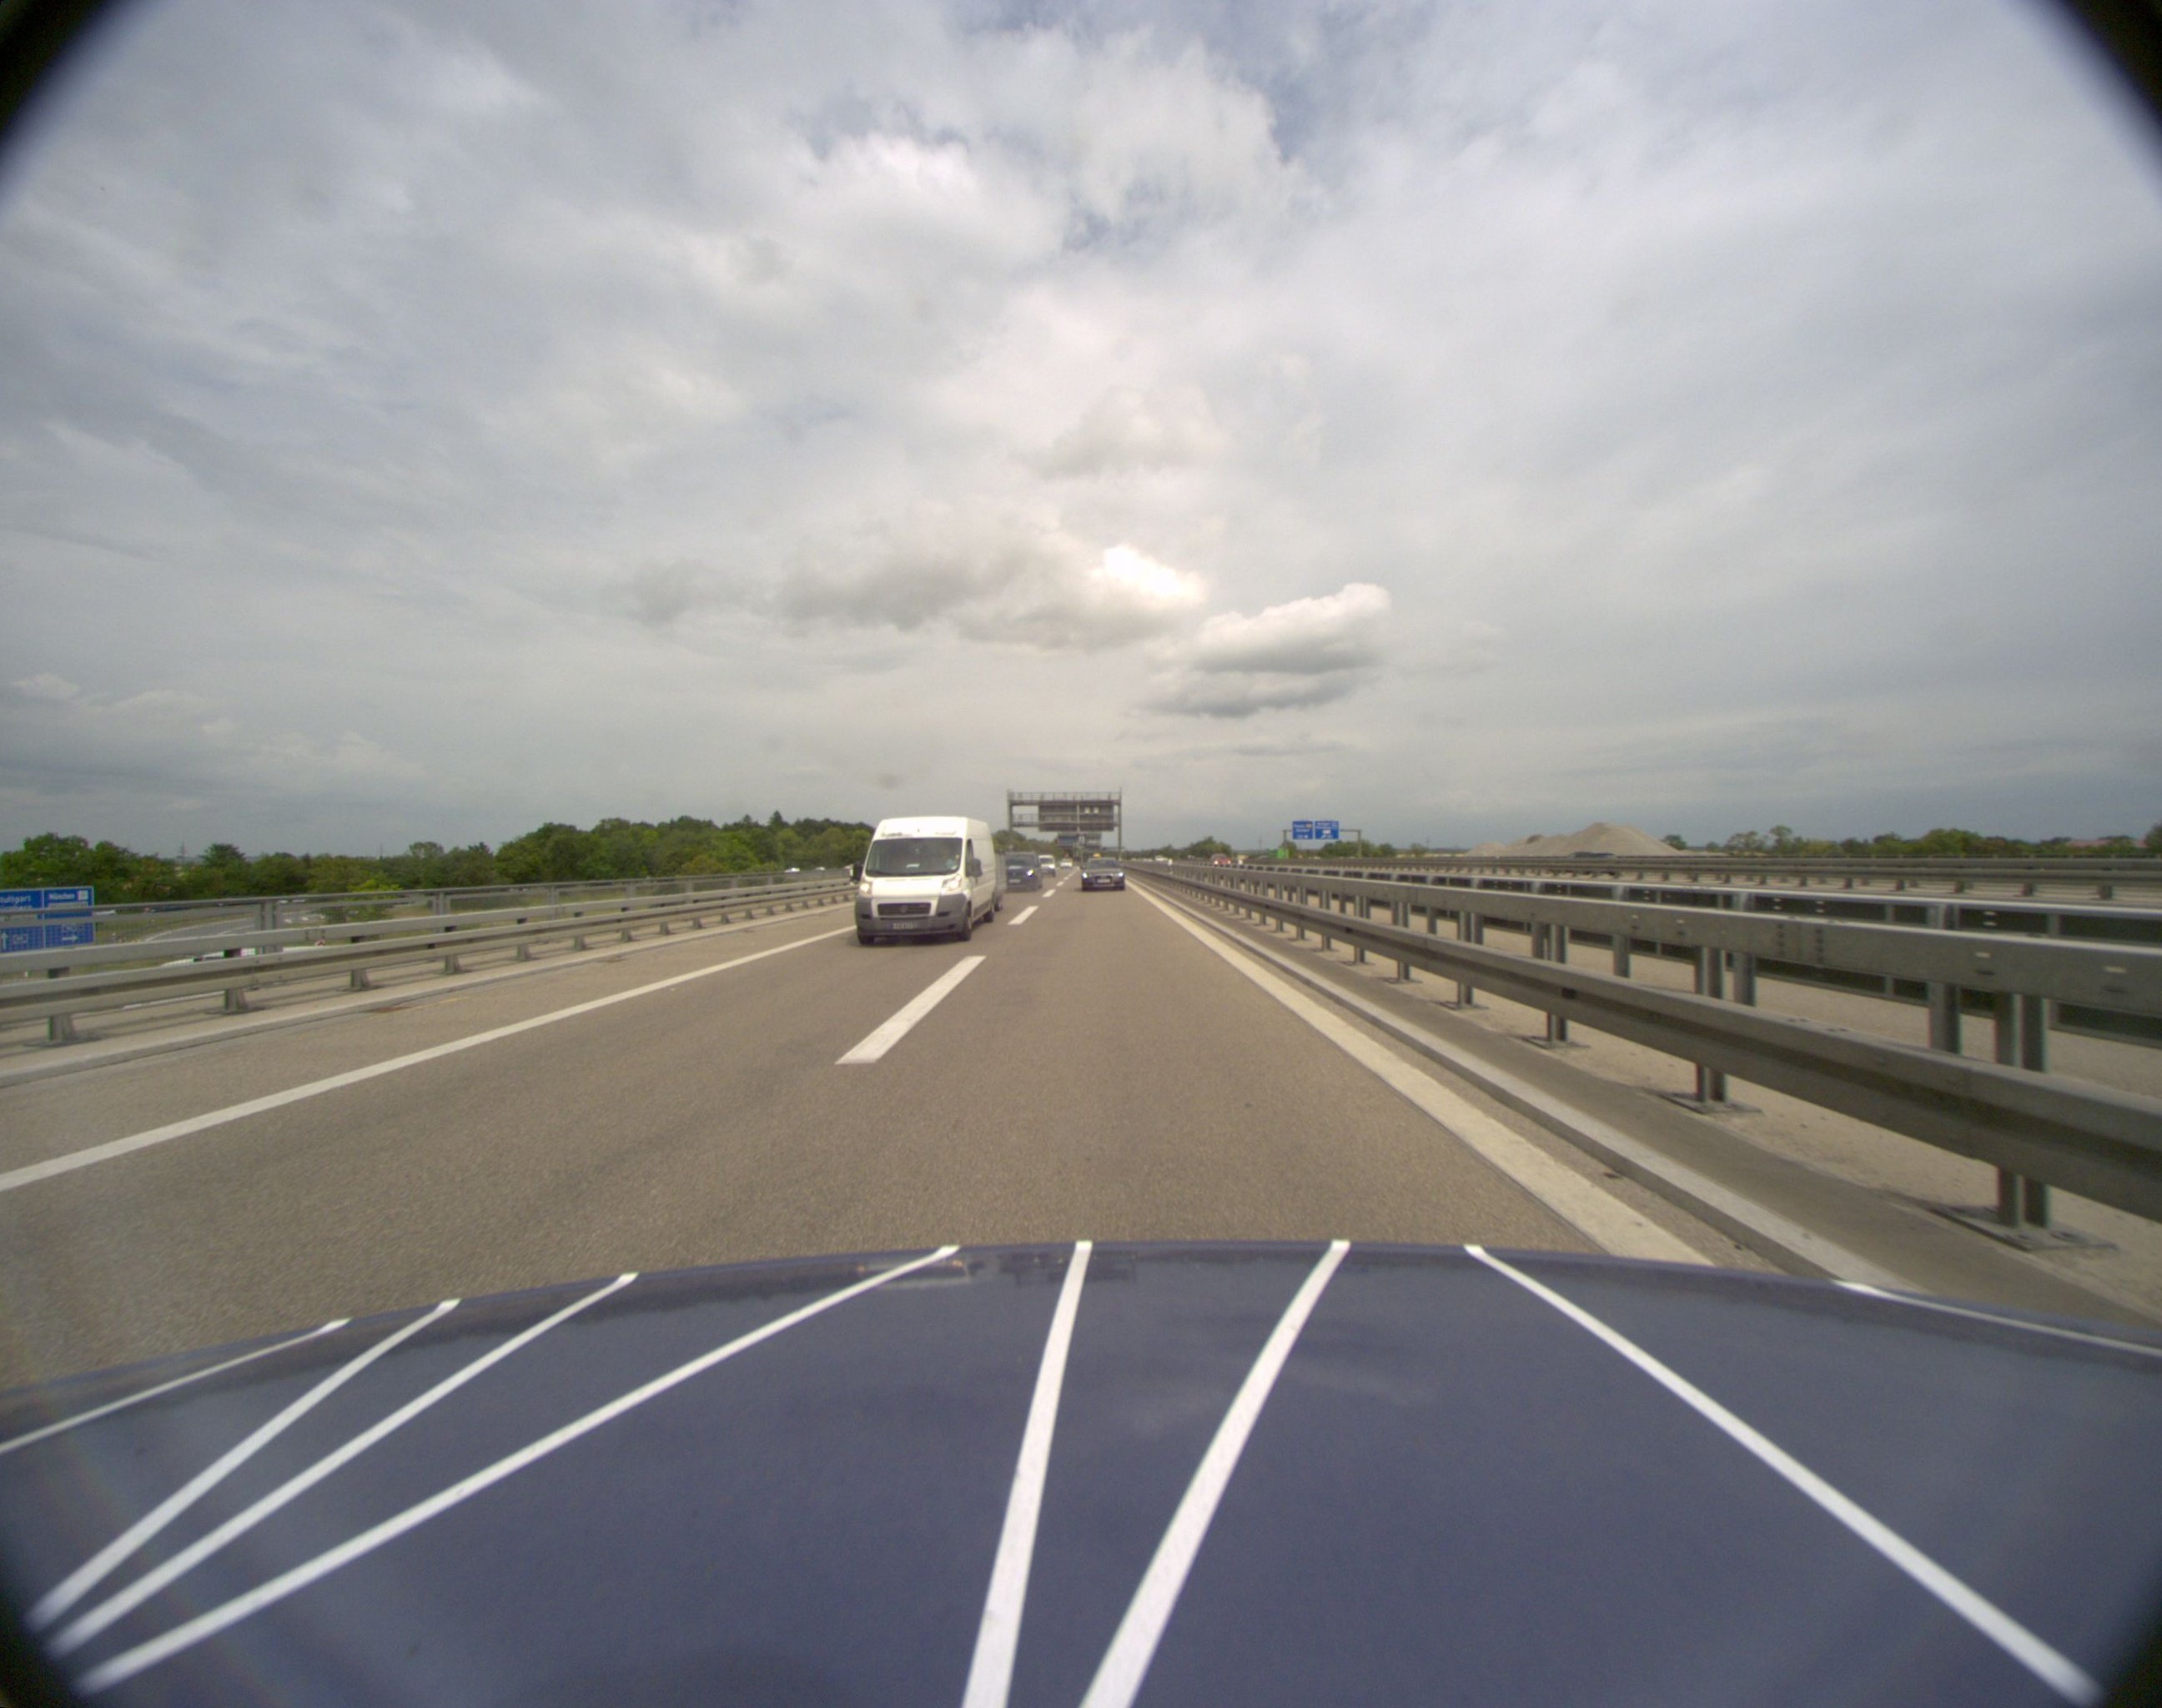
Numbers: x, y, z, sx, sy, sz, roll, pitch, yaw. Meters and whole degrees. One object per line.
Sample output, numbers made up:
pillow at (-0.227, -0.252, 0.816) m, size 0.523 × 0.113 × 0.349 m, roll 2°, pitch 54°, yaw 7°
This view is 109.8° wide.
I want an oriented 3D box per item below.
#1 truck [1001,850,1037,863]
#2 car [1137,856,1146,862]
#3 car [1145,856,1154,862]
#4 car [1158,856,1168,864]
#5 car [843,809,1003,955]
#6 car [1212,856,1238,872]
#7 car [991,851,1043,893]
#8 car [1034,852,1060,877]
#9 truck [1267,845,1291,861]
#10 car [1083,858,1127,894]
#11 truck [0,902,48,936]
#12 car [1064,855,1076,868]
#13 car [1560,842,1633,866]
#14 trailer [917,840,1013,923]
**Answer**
truck at (-19.157, 0.745, 235.470) m, size 11.815 × 3.835 × 2.840 m, roll -2°, pitch 0°, yaw -43°
car at (16.821, 1.397, 212.047) m, size 1.999 × 1.739 × 4.000 m, roll -2°, pitch 0°, yaw -1°
car at (20.532, 1.471, 227.382) m, size 1.999 × 1.870 × 4.000 m, roll -2°, pitch 0°, yaw -1°
car at (21.047, 1.571, 195.785) m, size 1.998 × 2.002 × 4.466 m, roll -2°, pitch 0°, yaw 1°
car at (-3.060, 0.507, 16.245) m, size 2.119 × 2.439 × 6.151 m, roll -2°, pitch 0°, yaw -1°
car at (15.466, 1.073, 81.710) m, size 1.824 × 1.536 × 4.354 m, roll -2°, pitch 0°, yaw -1°
car at (-2.916, 0.799, 35.499) m, size 1.998 × 1.783 × 4.000 m, roll -2°, pitch 0°, yaw 1°
car at (-2.740, 0.847, 61.950) m, size 1.846 × 1.870 × 4.289 m, roll -2°, pitch 0°, yaw 1°
truck at (47.900, -0.282, 183.921) m, size 3.020 × 3.613 × 10.437 m, roll -2°, pitch 0°, yaw 1°
car at (1.024, 0.914, 33.200) m, size 1.747 × 1.380 × 4.000 m, roll -2°, pitch 1°, yaw 1°
truck at (-141.299, 8.588, 94.534) m, size 3.079 × 4.065 × 14.754 m, roll -2°, pitch 0°, yaw 21°
car at (-1.710, 1.177, 119.673) m, size 1.846 × 1.870 × 4.289 m, roll -2°, pitch 0°, yaw 1°
car at (31.164, 0.005, 46.105) m, size 1.719 × 1.319 × 4.000 m, roll -1°, pitch 0°, yaw 0°
trailer at (-3.129, 0.703, 21.393) m, size 1.859 × 2.002 × 4.632 m, roll -2°, pitch 0°, yaw 1°
